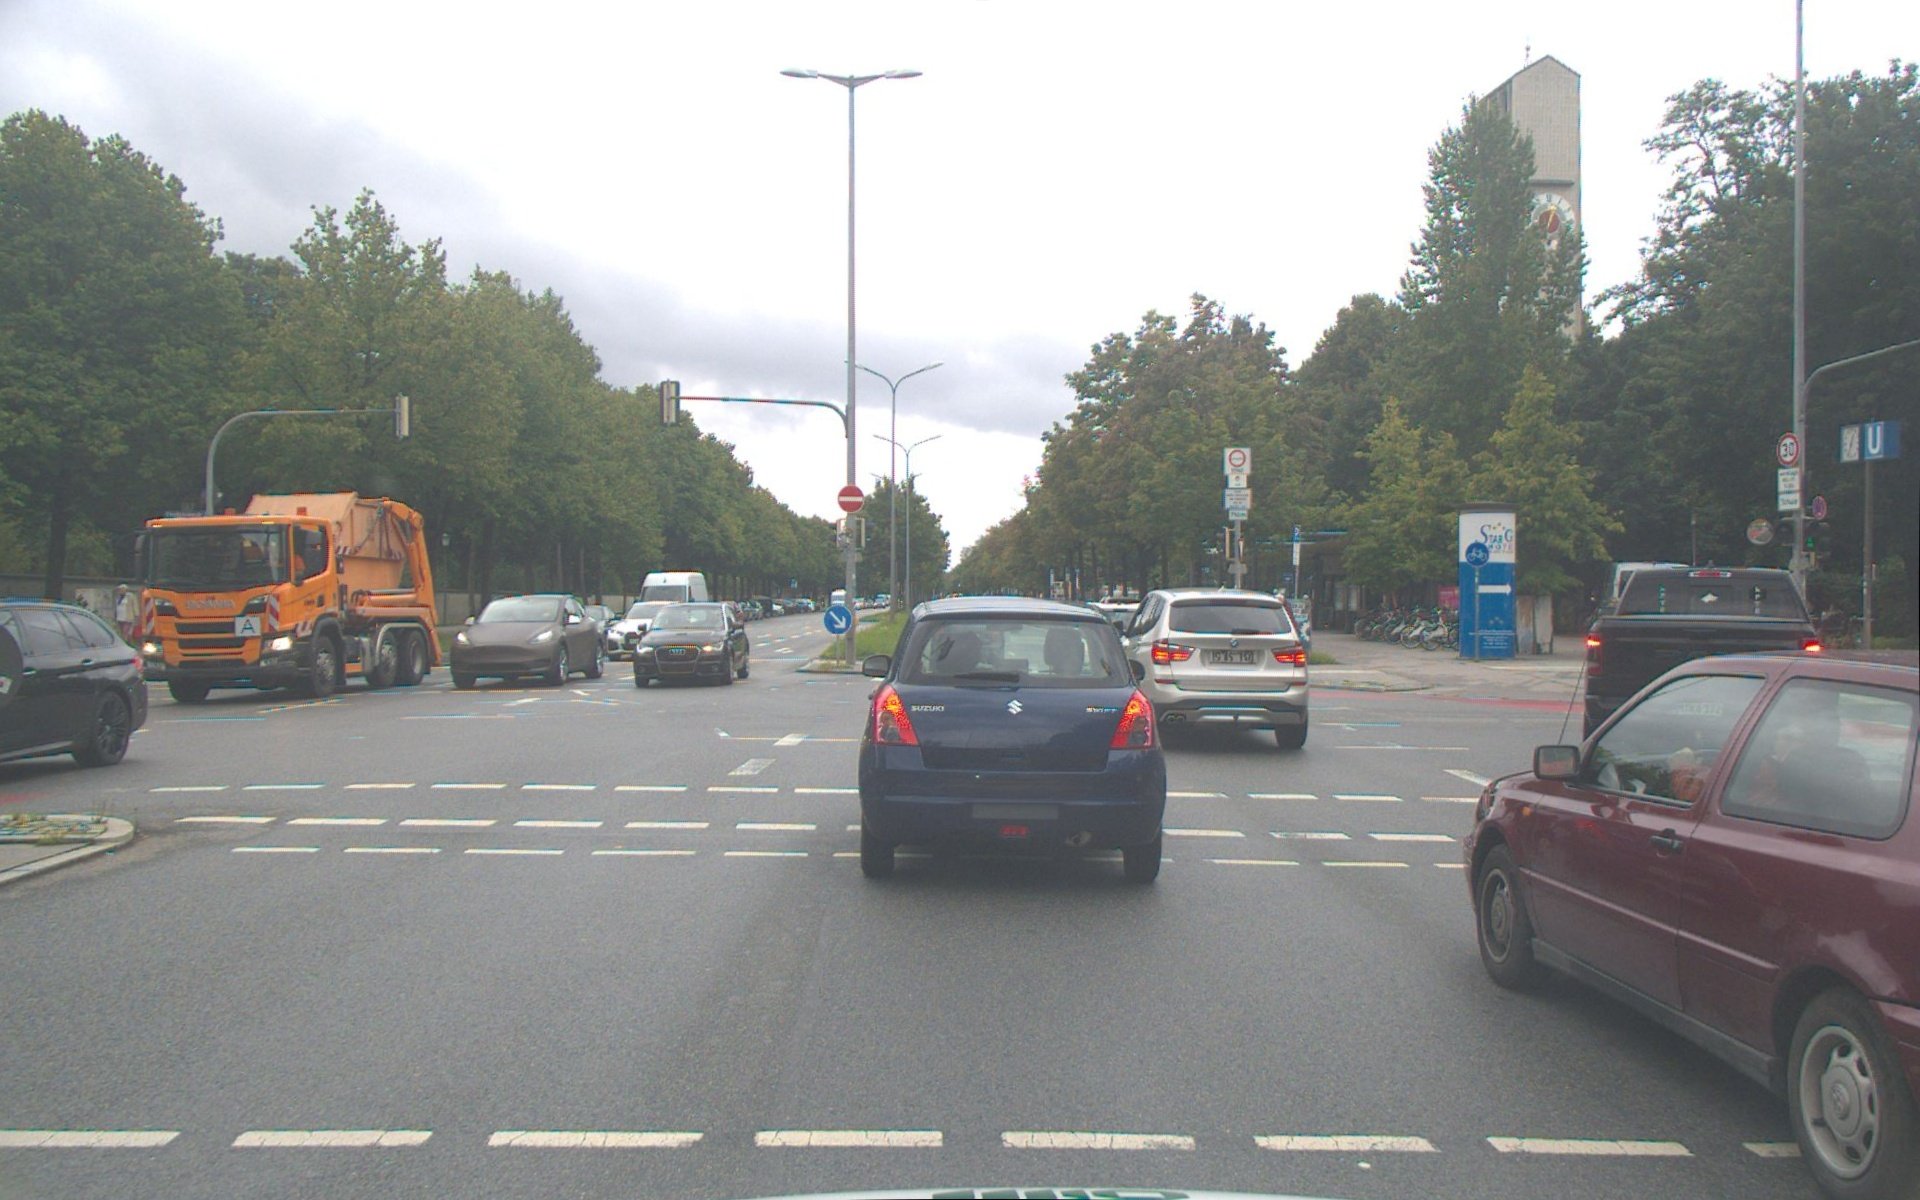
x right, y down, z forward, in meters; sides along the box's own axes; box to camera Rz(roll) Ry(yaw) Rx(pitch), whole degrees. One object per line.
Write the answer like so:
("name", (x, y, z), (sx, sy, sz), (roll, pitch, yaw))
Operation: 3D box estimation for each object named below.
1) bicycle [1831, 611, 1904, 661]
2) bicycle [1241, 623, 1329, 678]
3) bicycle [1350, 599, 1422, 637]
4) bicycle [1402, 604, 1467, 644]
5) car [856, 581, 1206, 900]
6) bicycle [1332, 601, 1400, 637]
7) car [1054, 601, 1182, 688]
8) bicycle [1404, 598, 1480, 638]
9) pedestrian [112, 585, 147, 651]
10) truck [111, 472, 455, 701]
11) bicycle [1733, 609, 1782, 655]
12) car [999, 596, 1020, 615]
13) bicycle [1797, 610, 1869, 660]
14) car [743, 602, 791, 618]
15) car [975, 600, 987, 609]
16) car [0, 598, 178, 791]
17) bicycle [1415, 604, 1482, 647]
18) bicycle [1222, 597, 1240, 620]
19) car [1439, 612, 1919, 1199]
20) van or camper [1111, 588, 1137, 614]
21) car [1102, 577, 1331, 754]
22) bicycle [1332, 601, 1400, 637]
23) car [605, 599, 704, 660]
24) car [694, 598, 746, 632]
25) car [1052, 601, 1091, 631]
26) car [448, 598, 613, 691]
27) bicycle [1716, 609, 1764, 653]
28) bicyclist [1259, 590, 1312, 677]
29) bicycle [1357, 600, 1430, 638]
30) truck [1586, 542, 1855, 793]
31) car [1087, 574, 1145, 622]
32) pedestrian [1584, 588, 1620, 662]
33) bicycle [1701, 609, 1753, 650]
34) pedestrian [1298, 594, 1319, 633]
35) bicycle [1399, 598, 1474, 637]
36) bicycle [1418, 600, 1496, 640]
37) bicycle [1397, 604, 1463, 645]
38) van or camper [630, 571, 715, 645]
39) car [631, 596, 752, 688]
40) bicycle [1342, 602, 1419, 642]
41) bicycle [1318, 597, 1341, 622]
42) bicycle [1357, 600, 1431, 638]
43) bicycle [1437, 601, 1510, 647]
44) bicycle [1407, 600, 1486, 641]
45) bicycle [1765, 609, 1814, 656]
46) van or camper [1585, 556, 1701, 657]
("bicycle", (22.137, 0.855, 40.381), (0.682, 1.174, 2.129), (0, 0, 2))
("bicycle", (6.819, 1.051, 34.668), (1.926, 1.100, 0.738), (0, 0, -37))
("bicycle", (14.508, 0.620, 56.333), (2.291, 1.177, 0.529), (-2, 0, -1))
("bicycle", (14.255, 0.717, 49.668), (1.768, 1.162, 0.567), (-2, 0, 4))
("car", (0.287, 0.699, 10.254), (1.753, 1.583, 3.998), (0, 0, -2))
("bicycle", (14.672, 0.685, 59.745), (2.291, 1.177, 0.529), (-2, 0, -1))
("car", (2.826, 0.763, 30.360), (1.813, 1.472, 4.096), (0, 0, -2))
("bicycle", (15.749, 0.586, 54.065), (2.291, 1.177, 0.585), (-2, 0, -1))
("pedestrian", (-22.325, 0.486, 44.487), (0.693, 1.770, 0.517), (0, 0, -6))
("truck", (-11.247, -0.195, 28.397), (2.723, 3.415, 7.267), (0, 0, 1))
("bicycle", (21.041, 0.826, 43.620), (0.705, 1.174, 2.118), (0, 0, 39))
("car", (4.568, 0.483, 152.361), (1.728, 1.680, 4.423), (0, 0, -1))
("bicycle", (21.330, 0.840, 40.449), (0.701, 1.174, 2.129), (0, 0, 2))
("car", (-17.541, 0.889, 150.407), (3.954, 1.378, 1.828), (0, 0, -36))
("car", (3.325, 0.681, 261.040), (1.813, 1.472, 4.096), (0, 0, -2))
("car", (-8.390, 0.765, 13.371), (1.887, 1.487, 4.897), (-2, 0, -2))
("bicycle", (13.937, 0.722, 47.176), (1.774, 1.162, 0.565), (-2, 0, -12))
("bicycle", (15.429, 0.480, 94.202), (0.632, 1.303, 2.550), (0, 0, 0))
("car", (2.967, 0.796, 5.418), (1.589, 1.479, 3.949), (0, 0, -1))
("van or camper", (16.409, 0.096, 165.460), (1.983, 2.602, 5.956), (0, 0, 0))
("car", (2.755, 0.656, 18.666), (1.813, 1.773, 4.096), (0, 0, -2))
("bicycle", (14.447, 0.682, 58.828), (2.295, 1.177, 0.528), (-2, 0, -9))
("car", (-7.969, 0.742, 43.513), (1.692, 1.513, 4.742), (0, 0, 0))
("car", (-11.161, 0.666, 77.147), (1.708, 1.477, 4.657), (-2, 0, -1))
("car", (5.802, 0.818, 86.395), (1.682, 1.535, 4.223), (0, 0, -1))
("car", (-7.788, 0.762, 30.433), (1.824, 1.569, 4.749), (0, 0, 0))
("bicycle", (21.384, 0.831, 45.326), (0.705, 1.174, 2.118), (0, 0, 39))
("bicyclist", (6.832, 0.690, 34.684), (0.818, 1.795, 0.737), (0, 0, -36))
("bicycle", (14.631, 0.647, 55.785), (2.291, 1.177, 0.529), (-2, 0, -1))
("truck", (7.634, 0.553, 16.619), (2.057, 2.049, 5.808), (0, 0, 25))
("car", (5.888, -0.087, 62.942), (1.711, 1.754, 4.906), (1, 0, 0))
("pedestrian", (13.874, 0.530, 35.754), (0.676, 1.565, 0.738), (0, 0, 19))
("bicycle", (22.734, 0.851, 48.989), (2.112, 1.174, 0.707), (0, 0, -44))
("pedestrian", (14.123, 0.542, 67.103), (0.569, 1.539, 0.690), (0, 0, -19))
("bicycle", (15.737, 0.584, 54.675), (2.291, 1.177, 0.585), (-2, 0, -1))
("bicycle", (15.918, 0.638, 52.993), (2.291, 1.177, 0.585), (-2, 0, -1))
("bicycle", (13.783, 0.717, 48.561), (1.767, 1.162, 0.568), (-2, 0, 8))
("van or camper", (-11.139, 0.287, 64.583), (2.134, 2.693, 6.949), (-2, 0, -1))
("car", (-4.683, 0.698, 29.268), (1.606, 1.513, 3.780), (0, 0, -1))
("bicycle", (13.559, 0.705, 53.340), (2.291, 1.177, 0.585), (-2, 0, -1))
("bicycle", (19.902, 0.509, 89.106), (0.632, 1.303, 2.550), (0, 0, 0))
("bicycle", (14.496, 0.635, 55.232), (2.291, 1.177, 0.529), (-2, 0, -1))
("bicycle", (14.457, 0.681, 46.606), (1.905, 1.233, 0.565), (-2, 0, -12))
("bicycle", (15.396, 0.645, 52.334), (2.291, 1.177, 0.585), (-2, 0, -1))
("bicycle", (21.626, 0.841, 43.085), (0.705, 1.174, 2.118), (0, 0, 39))
("van or camper", (17.124, 0.151, 41.744), (2.096, 2.336, 6.203), (0, 0, 17))
